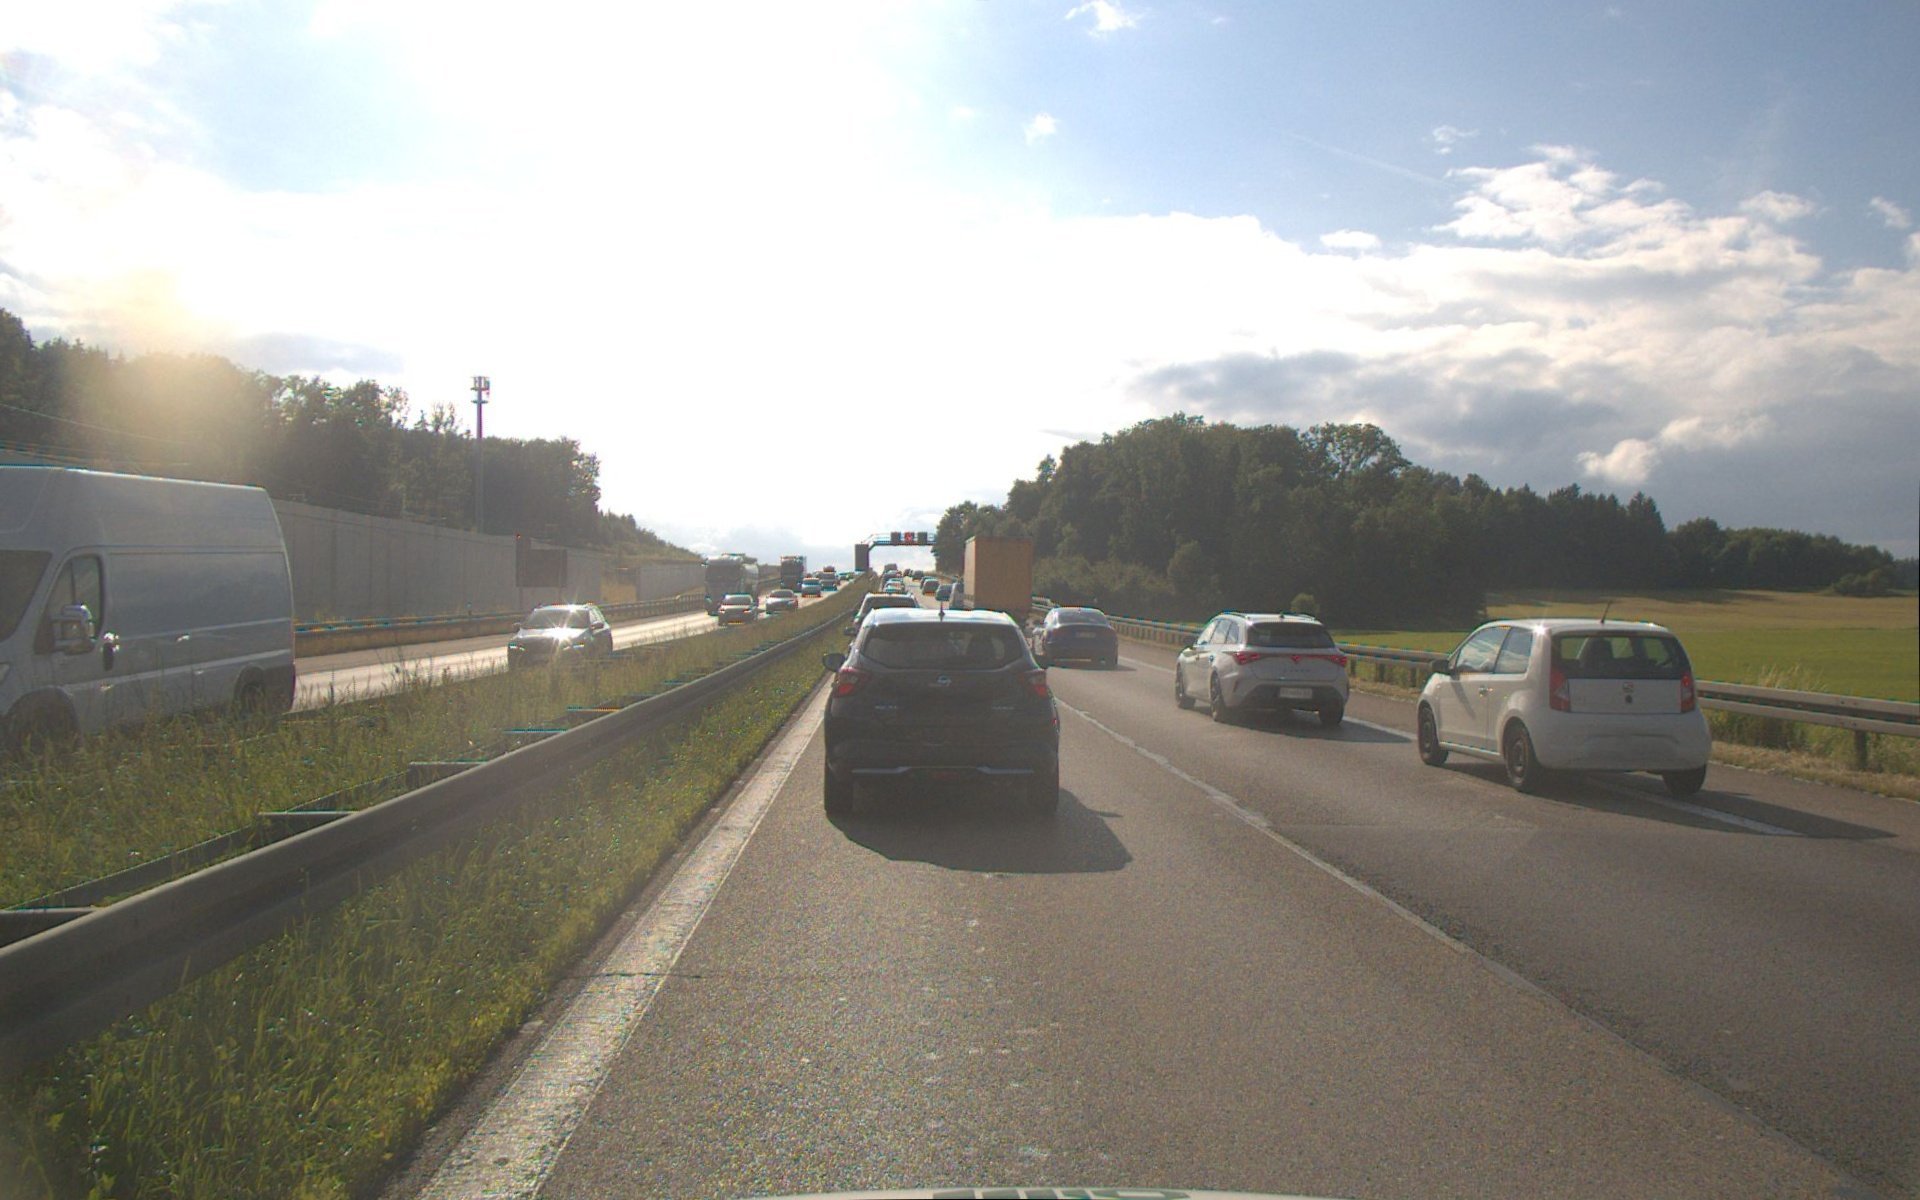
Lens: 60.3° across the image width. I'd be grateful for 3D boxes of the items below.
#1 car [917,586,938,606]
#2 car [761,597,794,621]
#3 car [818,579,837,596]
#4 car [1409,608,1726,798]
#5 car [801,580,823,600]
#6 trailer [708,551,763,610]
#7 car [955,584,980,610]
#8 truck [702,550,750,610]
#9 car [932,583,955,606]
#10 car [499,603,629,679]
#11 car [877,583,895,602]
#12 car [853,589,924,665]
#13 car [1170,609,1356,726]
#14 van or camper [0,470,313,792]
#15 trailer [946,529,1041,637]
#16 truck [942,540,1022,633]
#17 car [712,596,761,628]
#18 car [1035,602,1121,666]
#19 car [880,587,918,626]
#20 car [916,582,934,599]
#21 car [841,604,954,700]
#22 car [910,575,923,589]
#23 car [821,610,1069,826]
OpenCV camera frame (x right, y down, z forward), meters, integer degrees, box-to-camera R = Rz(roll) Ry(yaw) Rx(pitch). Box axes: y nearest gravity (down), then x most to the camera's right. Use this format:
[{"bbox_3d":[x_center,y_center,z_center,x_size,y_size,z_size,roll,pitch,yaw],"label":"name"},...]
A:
[{"bbox_3d":[-3.331,-0.410,170.232,1.954,2.049,3.997,1,-1,-3],"label":"car"},{"bbox_3d":[-12.012,0.601,109.129,1.767,1.543,4.689,1,-1,-1],"label":"car"},{"bbox_3d":[-15.703,-1.431,195.868,1.953,1.916,4.785,-2,-1,-2],"label":"car"},{"bbox_3d":[5.484,0.864,15.357,1.518,1.521,3.375,1,0,-4],"label":"car"},{"bbox_3d":[-14.488,-0.943,161.708,1.822,1.866,4.279,1,-1,-2],"label":"car"},{"bbox_3d":[-15.875,-1.289,117.930,2.489,3.837,12.536,-1,-1,-2],"label":"trailer"},{"bbox_3d":[0.527,-0.200,114.642,1.633,1.785,3.326,1,-1,-1],"label":"car"},{"bbox_3d":[-15.675,-1.321,111.177,2.501,3.865,5.415,-1,-1,-2],"label":"truck"},{"bbox_3d":[-1.568,-0.488,153.056,1.954,2.049,3.997,1,-1,-3],"label":"car"},{"bbox_3d":[-8.636,0.865,36.458,1.806,1.534,4.549,1,-1,-1],"label":"car"},{"bbox_3d":[-8.276,-0.818,185.561,1.954,2.049,3.997,1,-1,-3],"label":"car"},{"bbox_3d":[-1.722,0.654,40.858,1.640,1.756,3.595,1,-1,-1],"label":"car"},{"bbox_3d":[4.129,0.879,23.171,1.588,1.471,4.143,1,-1,-4],"label":"car"},{"bbox_3d":[-7.872,0.226,14.575,2.123,2.244,6.254,1,-1,-3],"label":"van or camper"},{"bbox_3d":[1.372,-0.669,76.604,3.478,4.535,12.714,1,-1,-3],"label":"trailer"},{"bbox_3d":[1.024,-0.609,83.314,3.510,4.456,6.684,1,-1,-3],"label":"truck"},{"bbox_3d":[-11.164,0.605,82.831,1.953,1.512,4.397,1,-1,-1],"label":"car"},{"bbox_3d":[2.875,0.825,41.026,1.712,1.501,4.145,1,-1,-1],"label":"car"},{"bbox_3d":[-3.305,0.365,88.778,1.954,2.049,3.997,1,-1,-3],"label":"car"},{"bbox_3d":[-4.243,-1.143,199.711,1.954,2.049,3.997,1,-1,-3],"label":"car"},{"bbox_3d":[-0.962,0.786,26.280,1.640,1.391,3.595,1,-1,-1],"label":"car"},{"bbox_3d":[-6.594,-2.747,250.689,1.954,2.049,3.997,1,-1,-3],"label":"car"},{"bbox_3d":[-0.124,0.827,13.001,1.675,1.451,3.377,1,-1,-1],"label":"car"}]
